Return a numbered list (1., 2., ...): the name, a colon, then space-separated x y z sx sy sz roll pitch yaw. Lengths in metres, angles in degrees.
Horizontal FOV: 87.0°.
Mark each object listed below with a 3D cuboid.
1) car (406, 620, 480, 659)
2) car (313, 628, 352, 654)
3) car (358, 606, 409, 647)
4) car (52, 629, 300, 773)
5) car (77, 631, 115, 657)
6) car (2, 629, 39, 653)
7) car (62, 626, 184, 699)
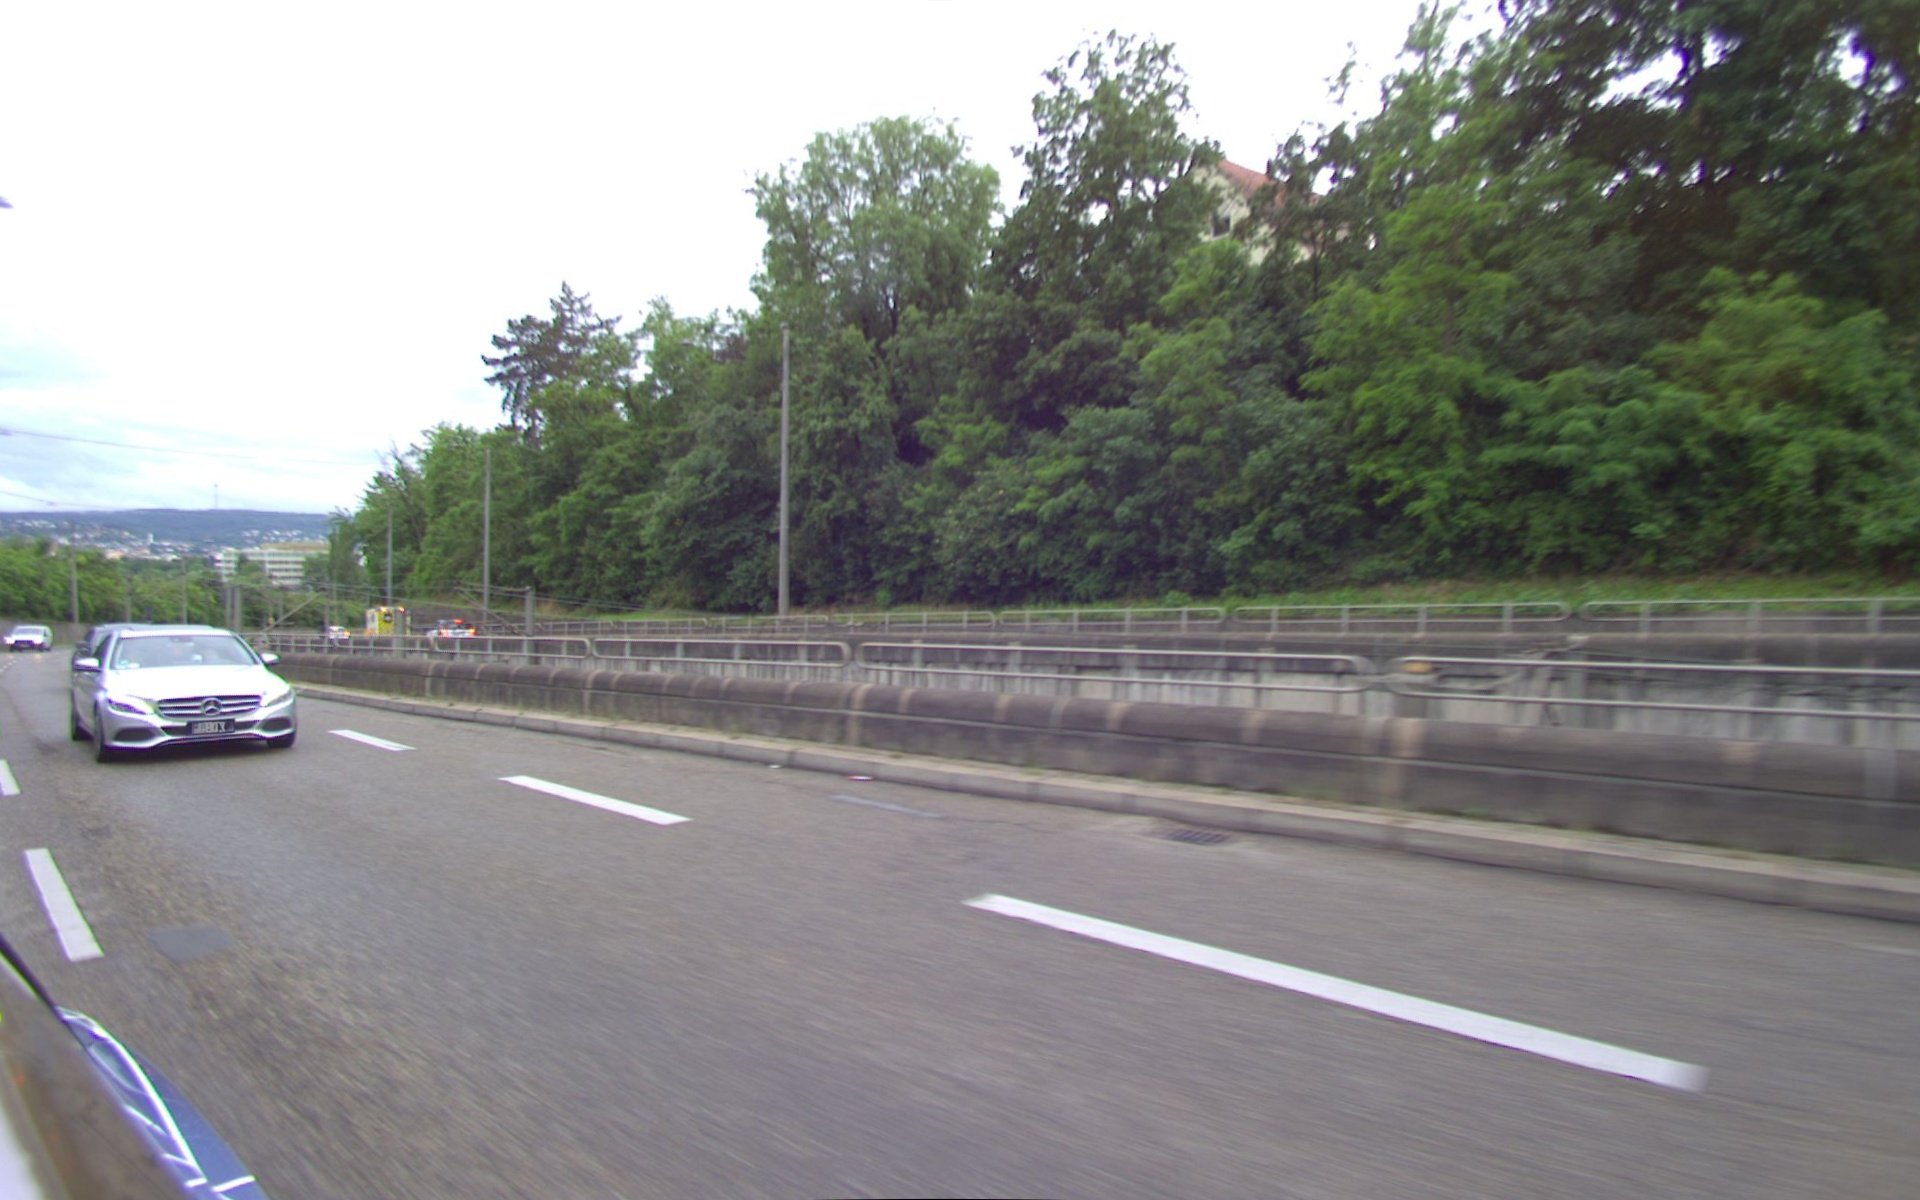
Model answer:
1. car: -24.916 1.885 48.735 4.142 1.763 1.939 -2 -2 44
2. car: -43.260 2.818 69.755 1.794 1.717 4.119 1 -2 -38
3. car: -40.522 1.867 71.047 2.154 2.755 6.357 1 -2 -38
4. car: -9.595 1.075 12.255 4.317 1.414 1.835 -2 -2 45
5. car: -70.960 3.588 83.149 1.967 2.029 4.505 1 -3 -35
6. car: -67.721 2.944 72.961 1.783 1.521 4.006 -2 2 -41
7. car: -18.817 1.353 22.699 3.889 1.482 1.706 -2 -2 44
